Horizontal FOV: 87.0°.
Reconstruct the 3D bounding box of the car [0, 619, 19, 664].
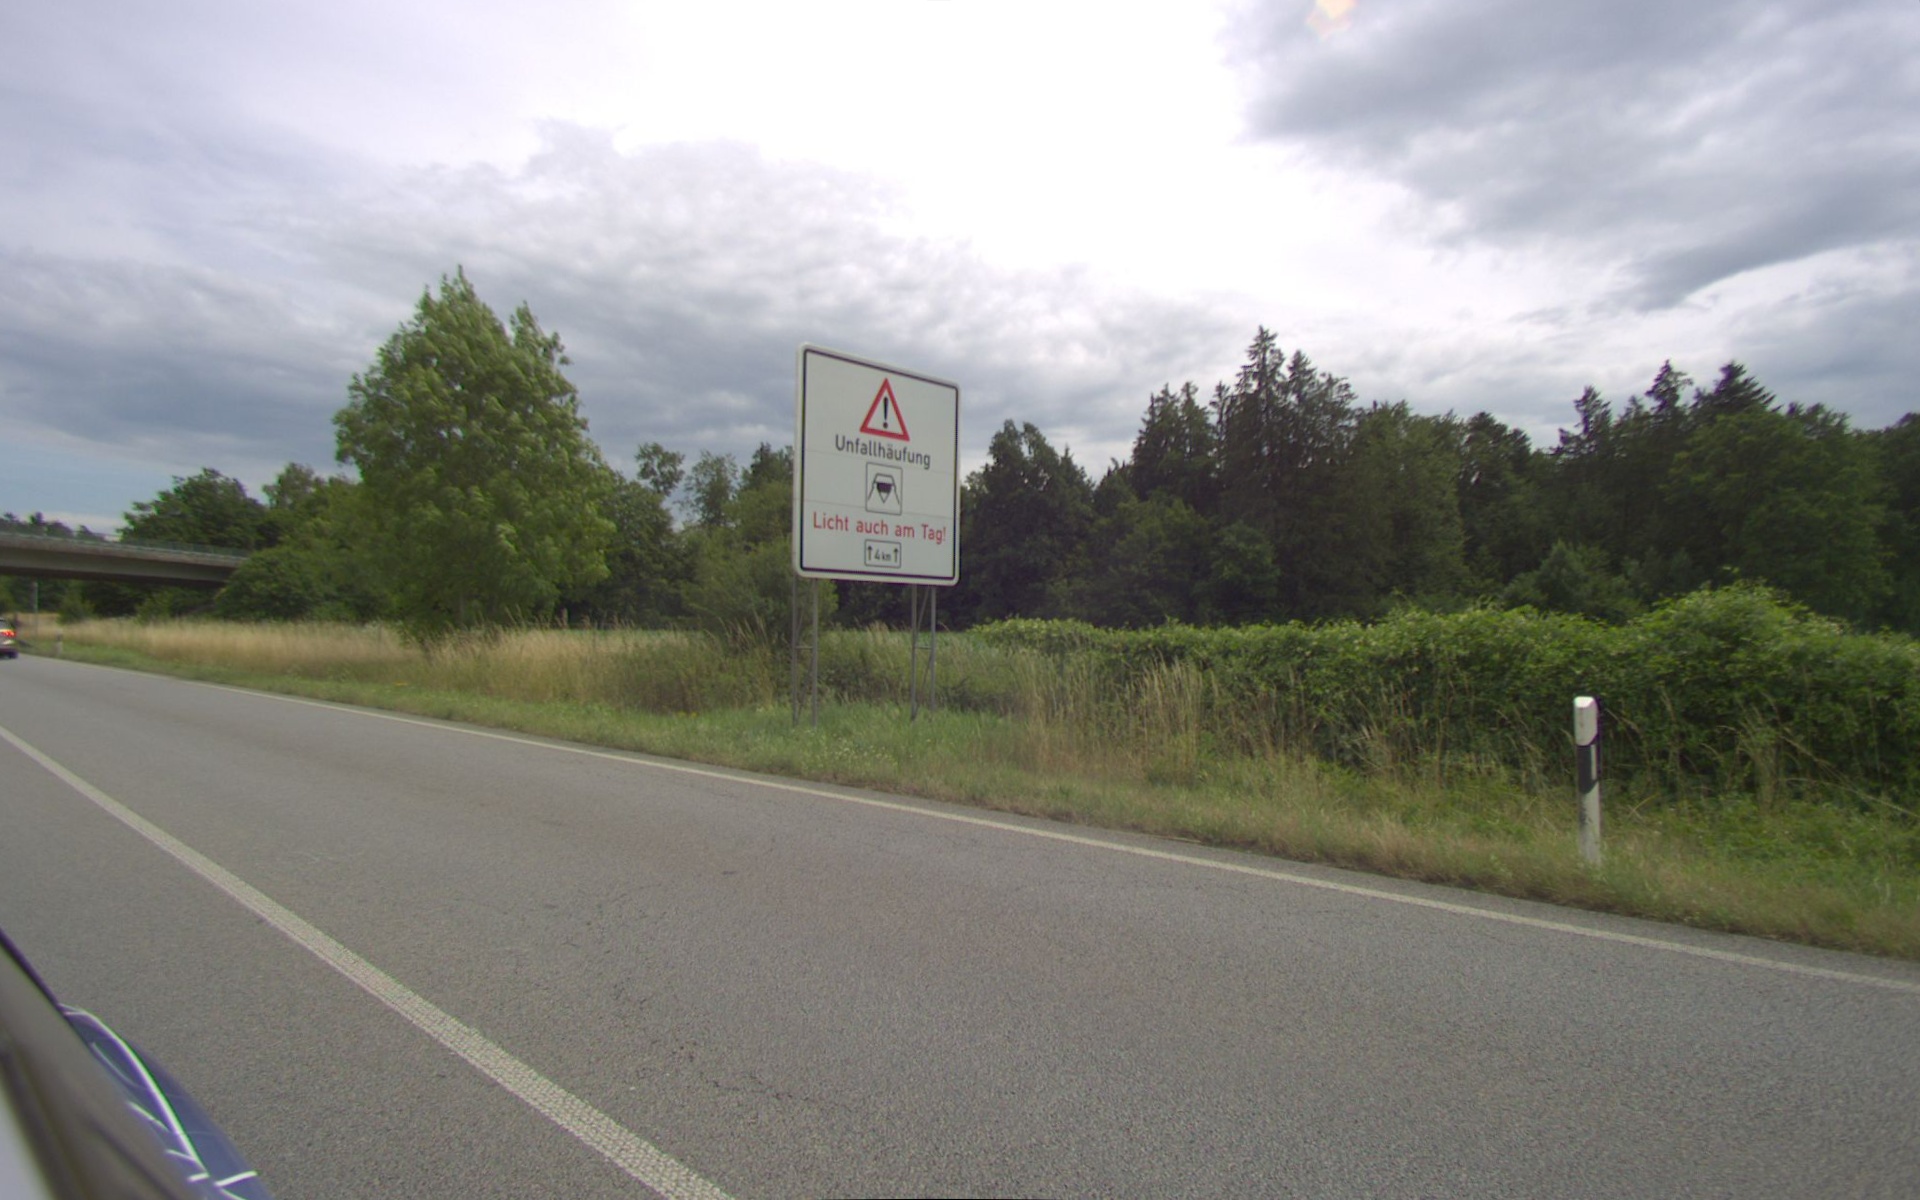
[{"bbox_3d":[-33.839,1.425,34.883,4.000,1.475,1.748,-1,0,43],"label":"car"}]
